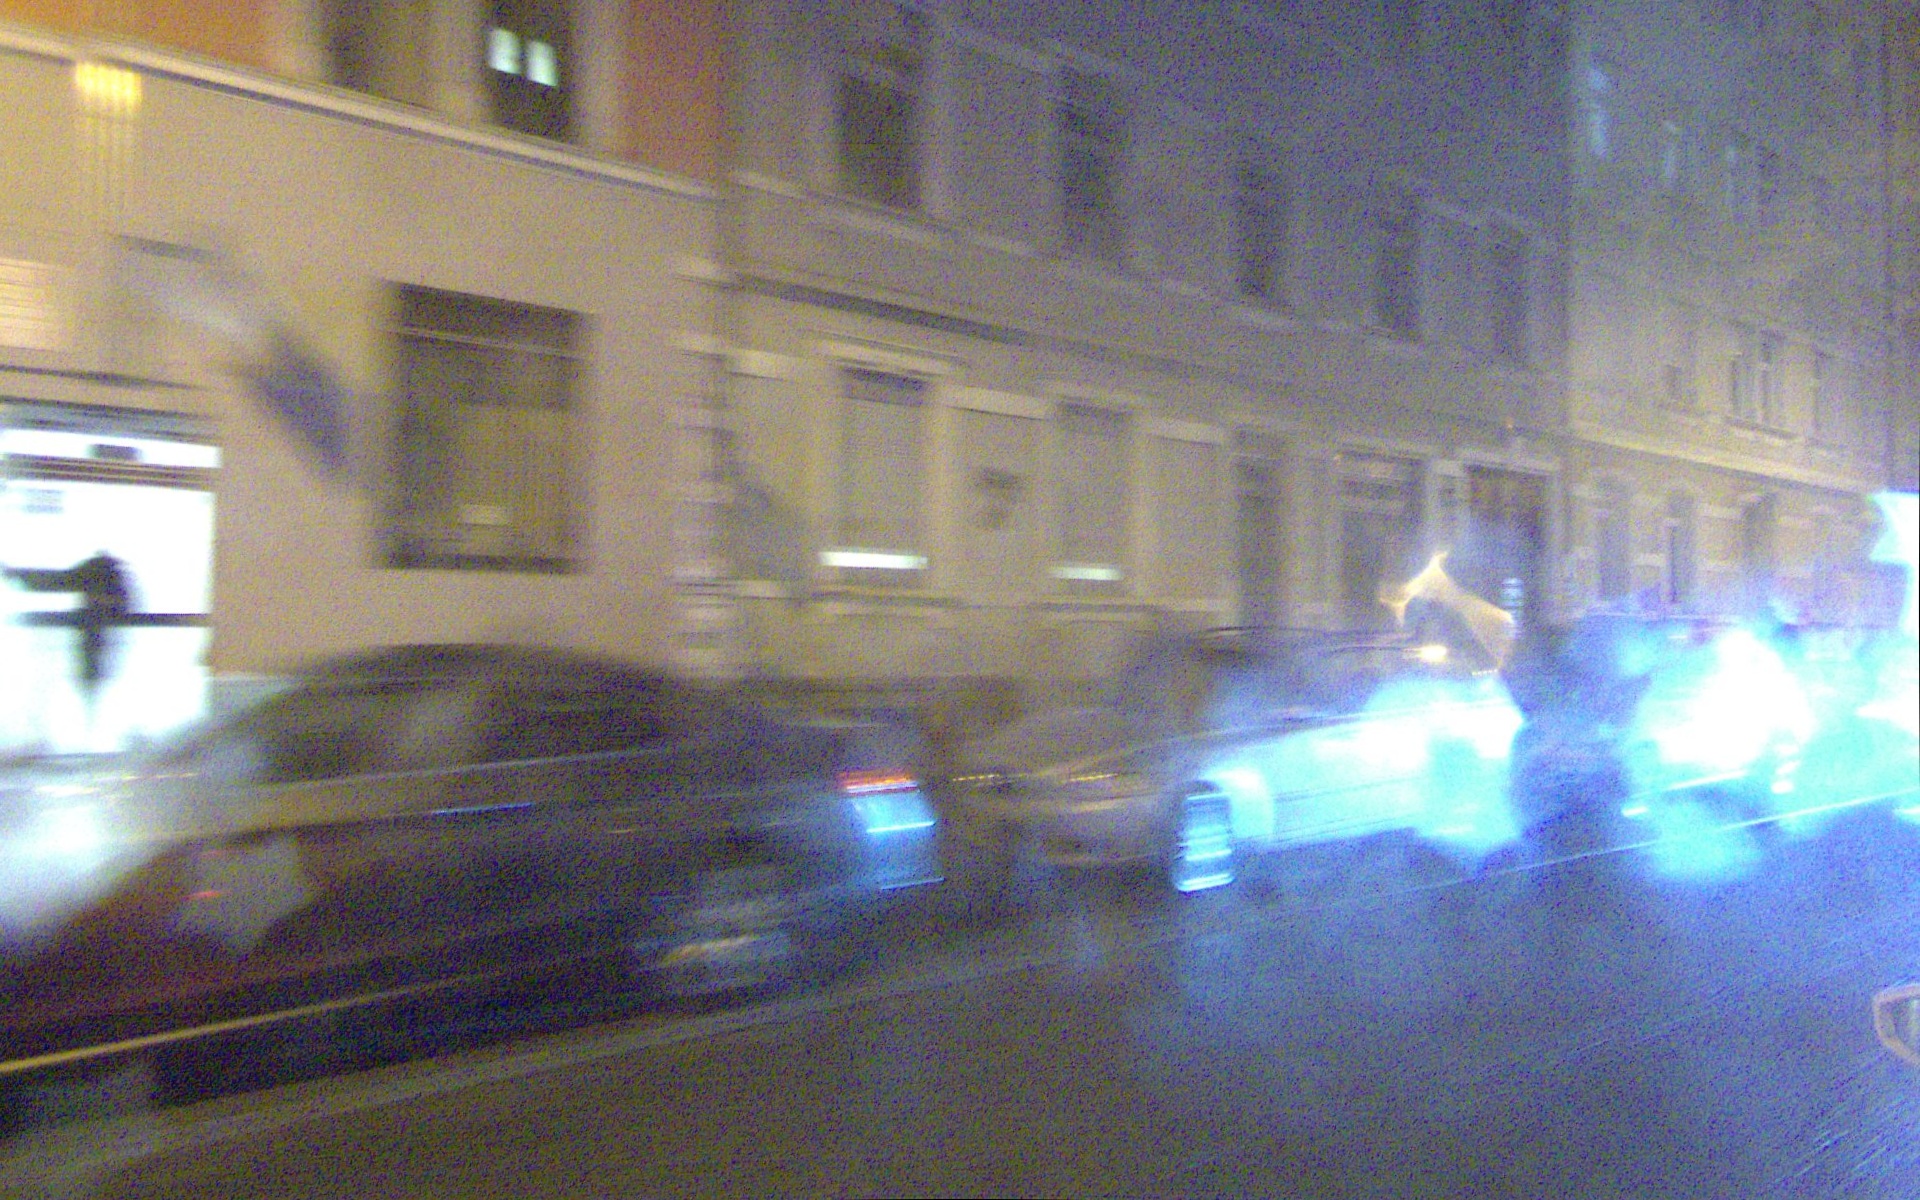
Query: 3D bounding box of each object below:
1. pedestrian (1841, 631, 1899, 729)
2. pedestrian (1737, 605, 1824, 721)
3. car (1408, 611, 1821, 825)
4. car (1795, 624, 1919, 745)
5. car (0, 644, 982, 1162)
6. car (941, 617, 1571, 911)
[{"bbox_3d":[15.450,1.335,17.054,0.758,1.573,0.649,2,0,-45],"label":"pedestrian"},{"bbox_3d":[13.529,1.018,16.565,0.974,1.828,0.740,2,0,-27],"label":"pedestrian"},{"bbox_3d":[6.080,0.943,9.269,3.721,1.609,1.737,1,-2,-30],"label":"car"},{"bbox_3d":[13.769,1.112,14.035,4.541,1.506,1.824,1,-2,-30],"label":"car"},{"bbox_3d":[-2.234,0.900,4.108,4.374,1.408,1.813,1,-2,-31],"label":"car"},{"bbox_3d":[2.161,0.900,7.011,4.256,1.500,1.824,1,-2,-30],"label":"car"}]
